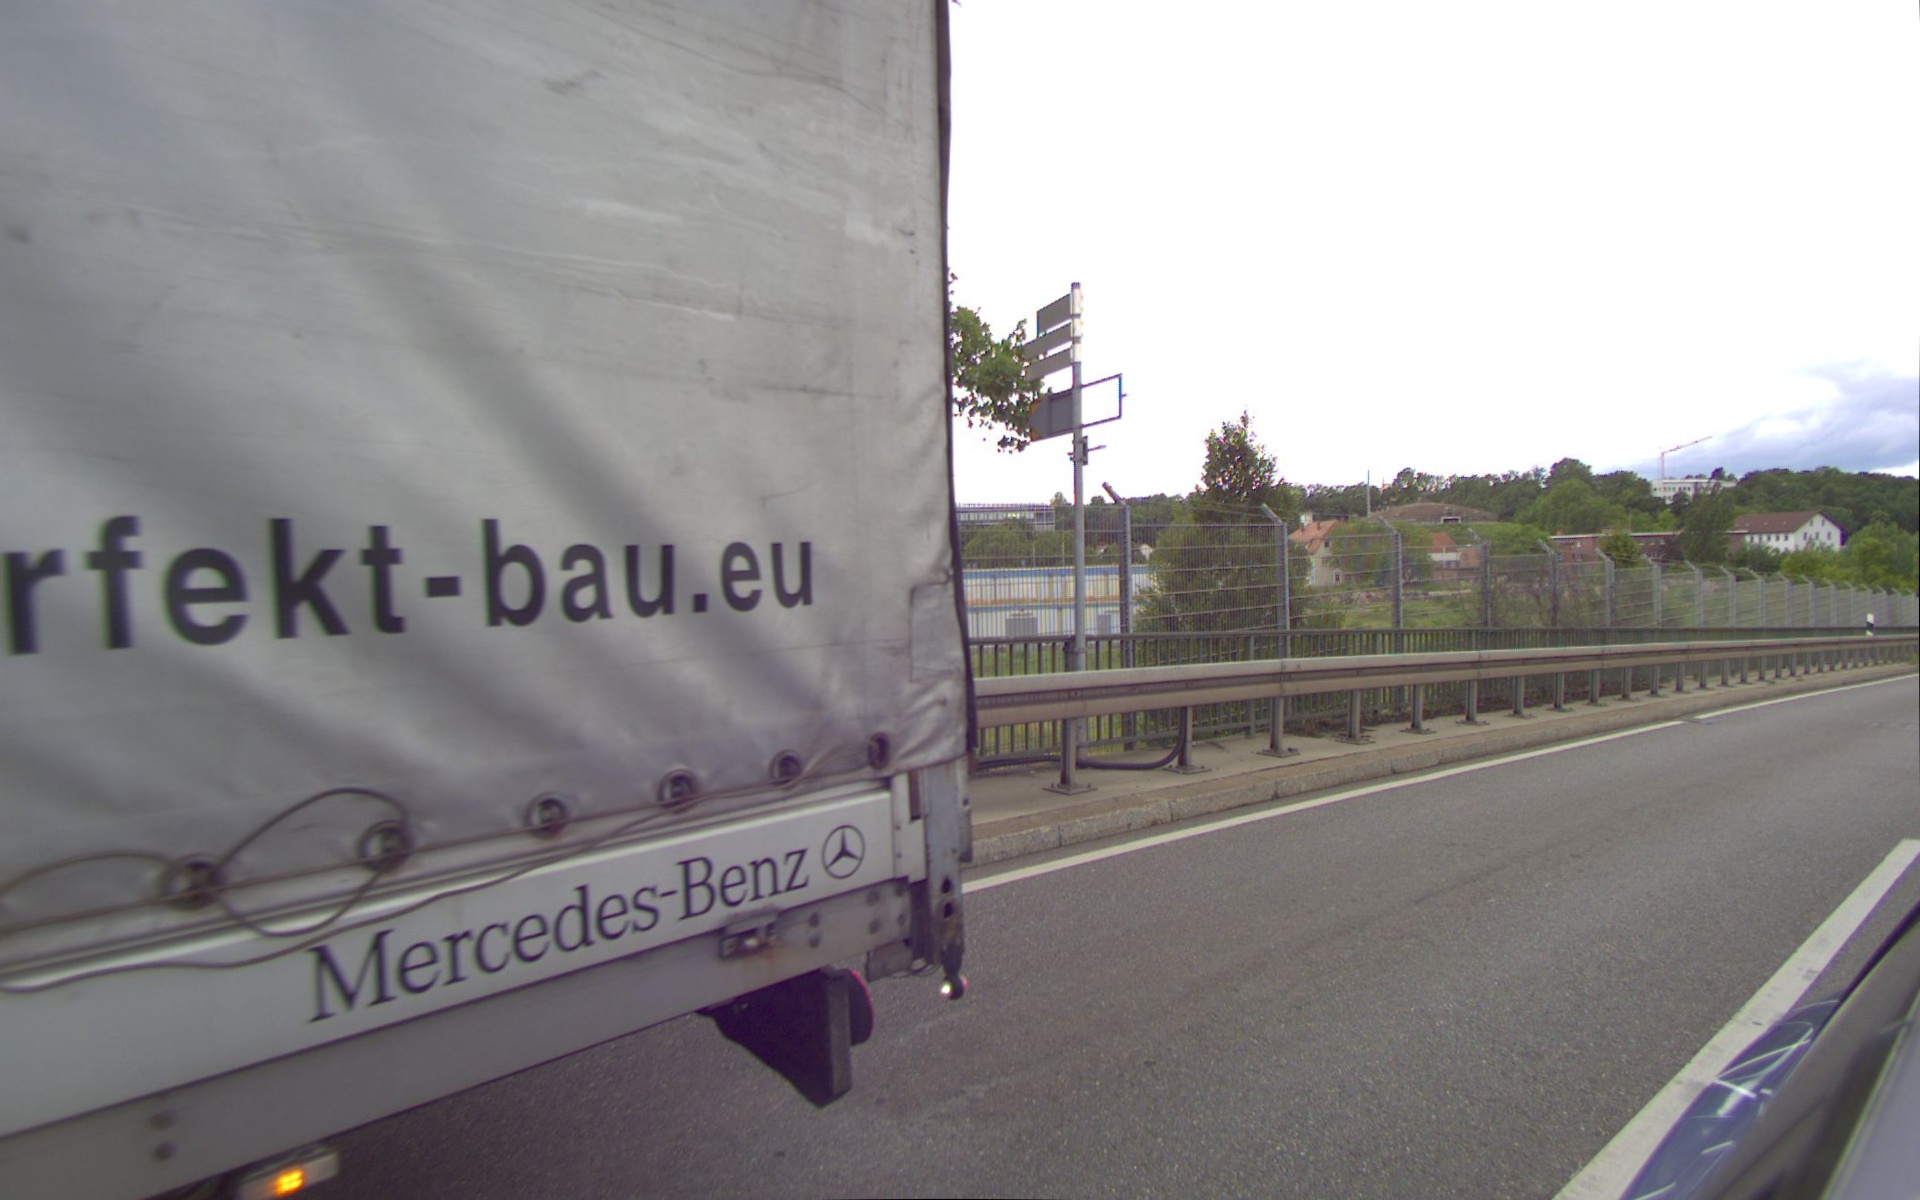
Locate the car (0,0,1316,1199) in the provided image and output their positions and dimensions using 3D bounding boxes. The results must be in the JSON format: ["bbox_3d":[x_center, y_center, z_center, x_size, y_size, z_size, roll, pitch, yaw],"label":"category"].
[{"bbox_3d":[-2.766,-0.092,0.818,6.966,3.371,2.664,-1,1,-41],"label":"car"}]
